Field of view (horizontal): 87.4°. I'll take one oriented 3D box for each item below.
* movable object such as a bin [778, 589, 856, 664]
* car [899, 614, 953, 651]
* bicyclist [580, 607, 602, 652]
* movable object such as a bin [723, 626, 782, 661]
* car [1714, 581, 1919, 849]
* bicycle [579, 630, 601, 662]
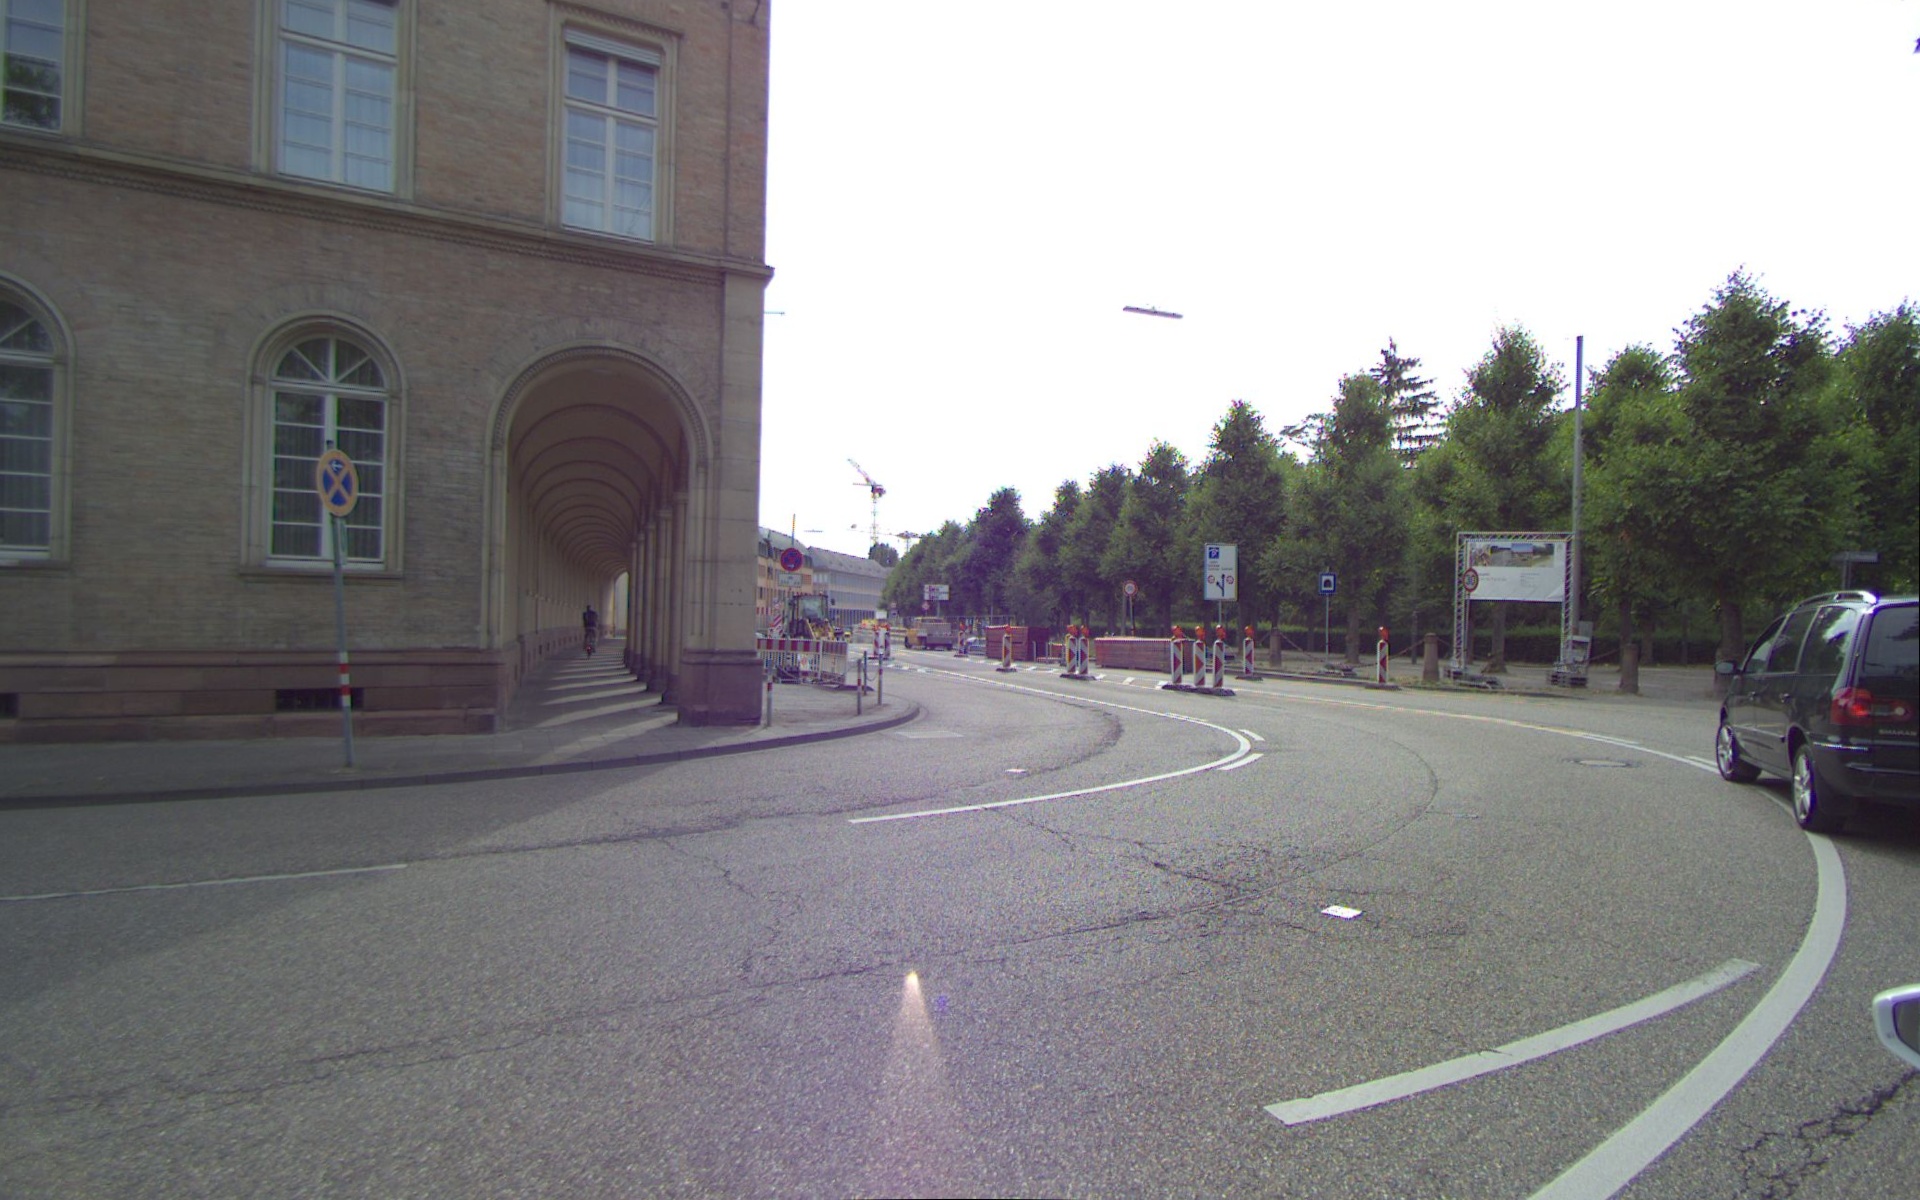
[{"bbox_3d":[-5.713,1.044,39.656,2.091,2.754,4.597,1,-2,-21],"label":"movable object such as a bin"},{"bbox_3d":[-2.159,1.989,62.168,1.970,2.040,4.323,1,1,-21],"label":"car"},{"bbox_3d":[-12.027,0.967,32.750,0.611,1.430,0.805,1,1,-19],"label":"bicyclist"},{"bbox_3d":[-7.729,1.587,37.252,1.785,1.140,2.735,1,1,-19],"label":"movable object such as a bin"},{"bbox_3d":[7.556,0.794,8.096,1.767,1.731,4.125,0,-1,28],"label":"car"},{"bbox_3d":[-12.064,1.487,32.809,0.611,0.904,2.515,1,1,-19],"label":"bicycle"}]
